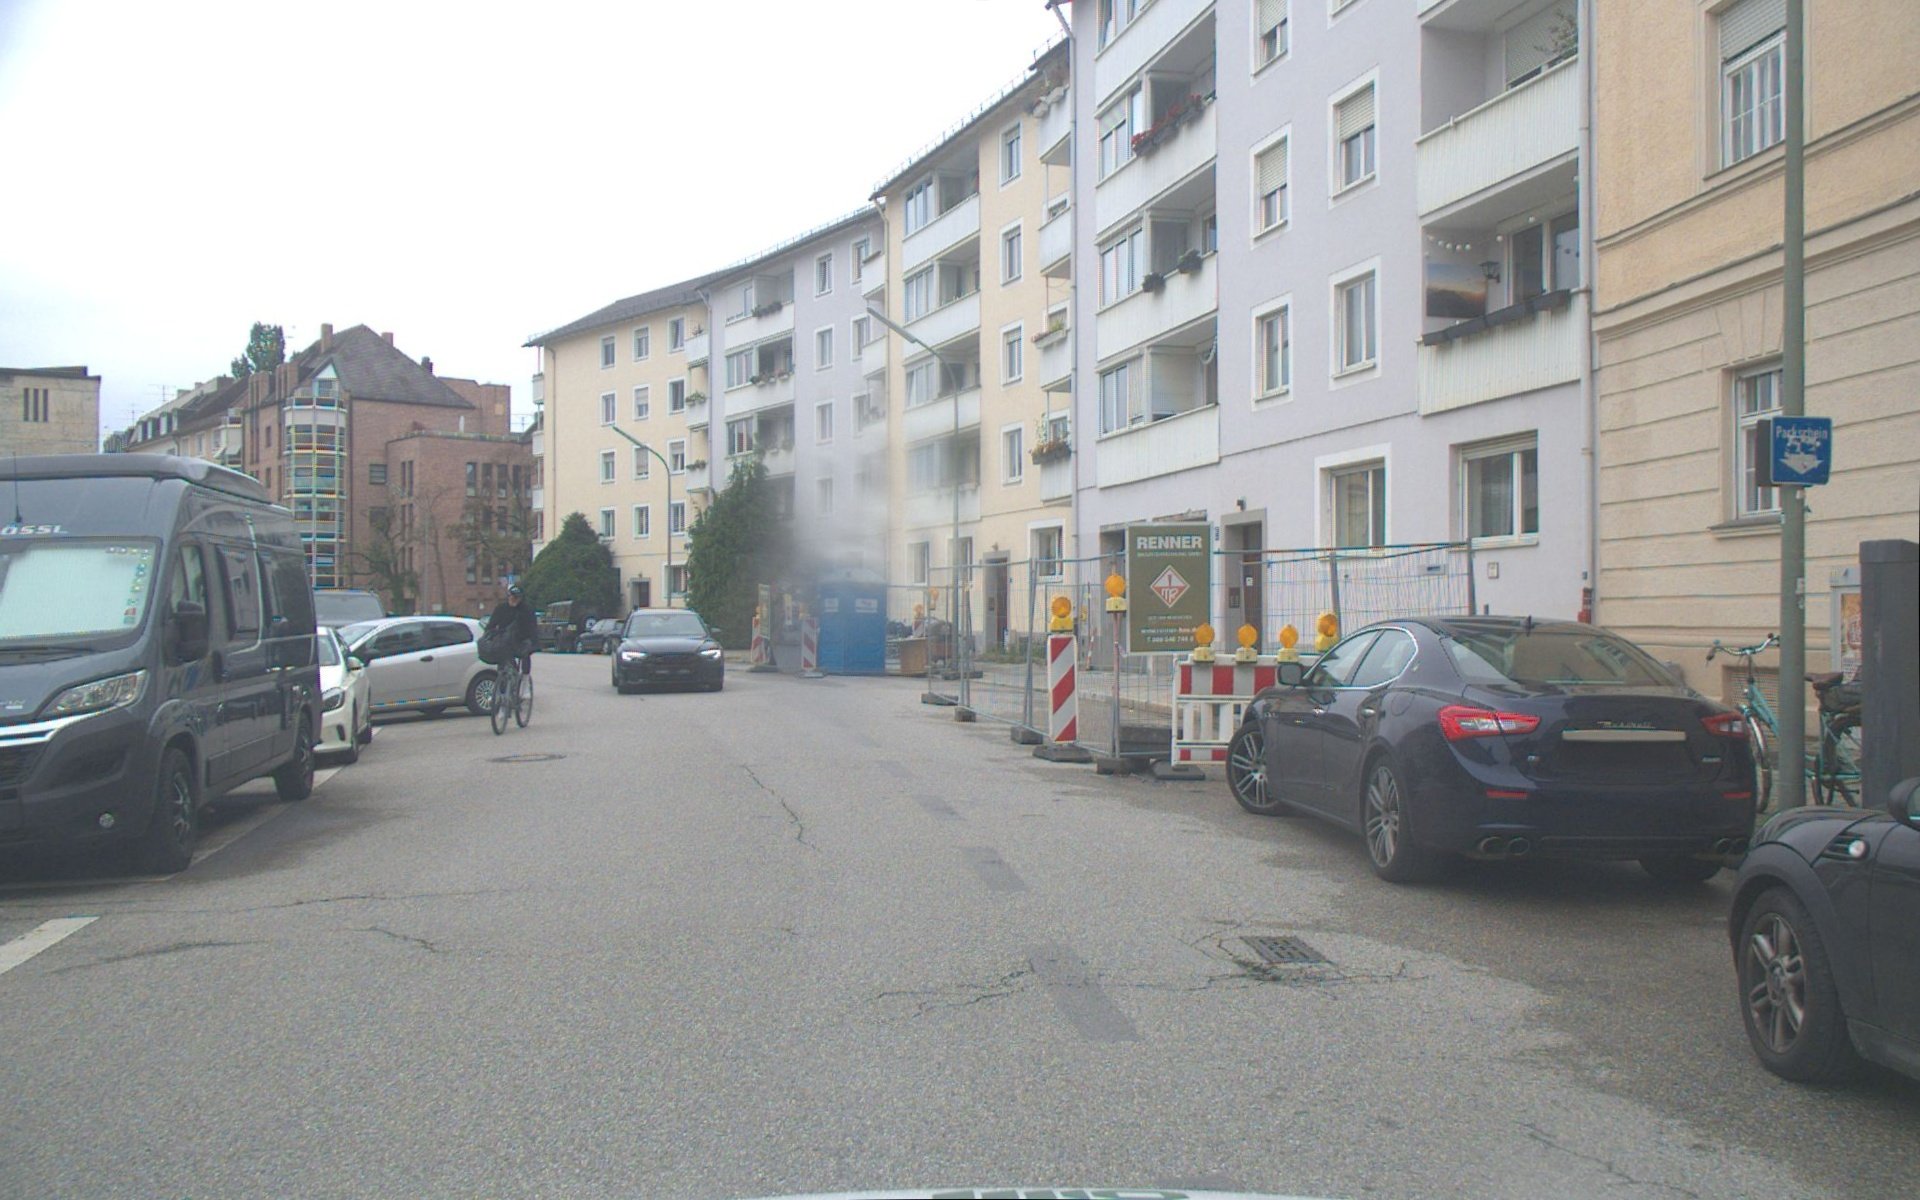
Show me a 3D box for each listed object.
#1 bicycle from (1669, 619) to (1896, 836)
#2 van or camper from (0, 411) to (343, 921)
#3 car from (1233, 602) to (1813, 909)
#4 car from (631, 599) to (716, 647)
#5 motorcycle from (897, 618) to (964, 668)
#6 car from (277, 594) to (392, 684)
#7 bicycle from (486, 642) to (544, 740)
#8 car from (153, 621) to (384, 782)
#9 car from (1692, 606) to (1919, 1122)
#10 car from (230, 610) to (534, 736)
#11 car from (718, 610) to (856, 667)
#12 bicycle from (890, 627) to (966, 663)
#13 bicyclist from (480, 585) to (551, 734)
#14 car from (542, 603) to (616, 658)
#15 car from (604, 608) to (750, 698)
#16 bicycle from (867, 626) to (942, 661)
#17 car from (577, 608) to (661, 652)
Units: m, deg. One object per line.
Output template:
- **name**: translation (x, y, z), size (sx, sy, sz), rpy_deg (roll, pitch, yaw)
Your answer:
- **bicycle**: translation (5.221, 0.763, 10.616), size (0.623, 1.280, 1.671), rpy_deg (0, -1, 0)
- **van or camper**: translation (-5.943, 0.319, 11.389), size (2.257, 2.626, 6.067), rpy_deg (1, 0, -12)
- **car**: translation (3.219, 0.783, 10.701), size (1.870, 1.503, 4.943), rpy_deg (1, 0, -3)
- **car**: translation (-9.896, 0.775, 56.933), size (1.809, 1.601, 3.964), rpy_deg (0, -1, -27)
- **motorcycle**: translation (-0.779, 1.100, 42.938), size (0.919, 1.242, 2.490), rpy_deg (0, -1, -22)
- **car**: translation (-13.335, 0.819, 35.088), size (2.025, 1.766, 4.849), rpy_deg (0, -1, -24)
- **bicycle**: translation (-5.563, 1.113, 20.759), size (0.575, 1.088, 1.930), rpy_deg (-2, 0, -13)
- **car**: translation (-7.528, 1.024, 18.397), size (1.963, 1.476, 4.193), rpy_deg (-3, 0, -18)
- **car**: translation (3.513, 0.752, 4.201), size (1.598, 1.442, 3.678), rpy_deg (1, 0, -2)
- **car**: translation (-8.293, 1.010, 23.956), size (1.683, 1.534, 3.788), rpy_deg (-3, 0, 41)
- **car**: translation (-4.747, 1.020, 44.917), size (1.769, 1.464, 4.222), rpy_deg (0, -1, -38)
- **bicycle**: translation (-0.983, 1.374, 50.962), size (2.202, 1.088, 0.913), rpy_deg (0, -1, -23)
- **bicyclist**: translation (-5.589, 0.734, 20.823), size (0.731, 1.802, 0.812), rpy_deg (-3, 0, -12)
- **car**: translation (-14.943, 1.183, 64.733), size (1.763, 2.011, 3.681), rpy_deg (-2, 0, -31)
- **car**: translation (-5.113, 0.923, 30.481), size (1.881, 1.436, 4.703), rpy_deg (-3, 0, -1)
- **bicycle**: translation (-1.764, 1.375, 52.278), size (2.202, 1.088, 0.913), rpy_deg (0, -1, -23)
- **car**: translation (-12.605, 1.111, 61.006), size (1.766, 1.545, 3.675), rpy_deg (1, -1, -34)
